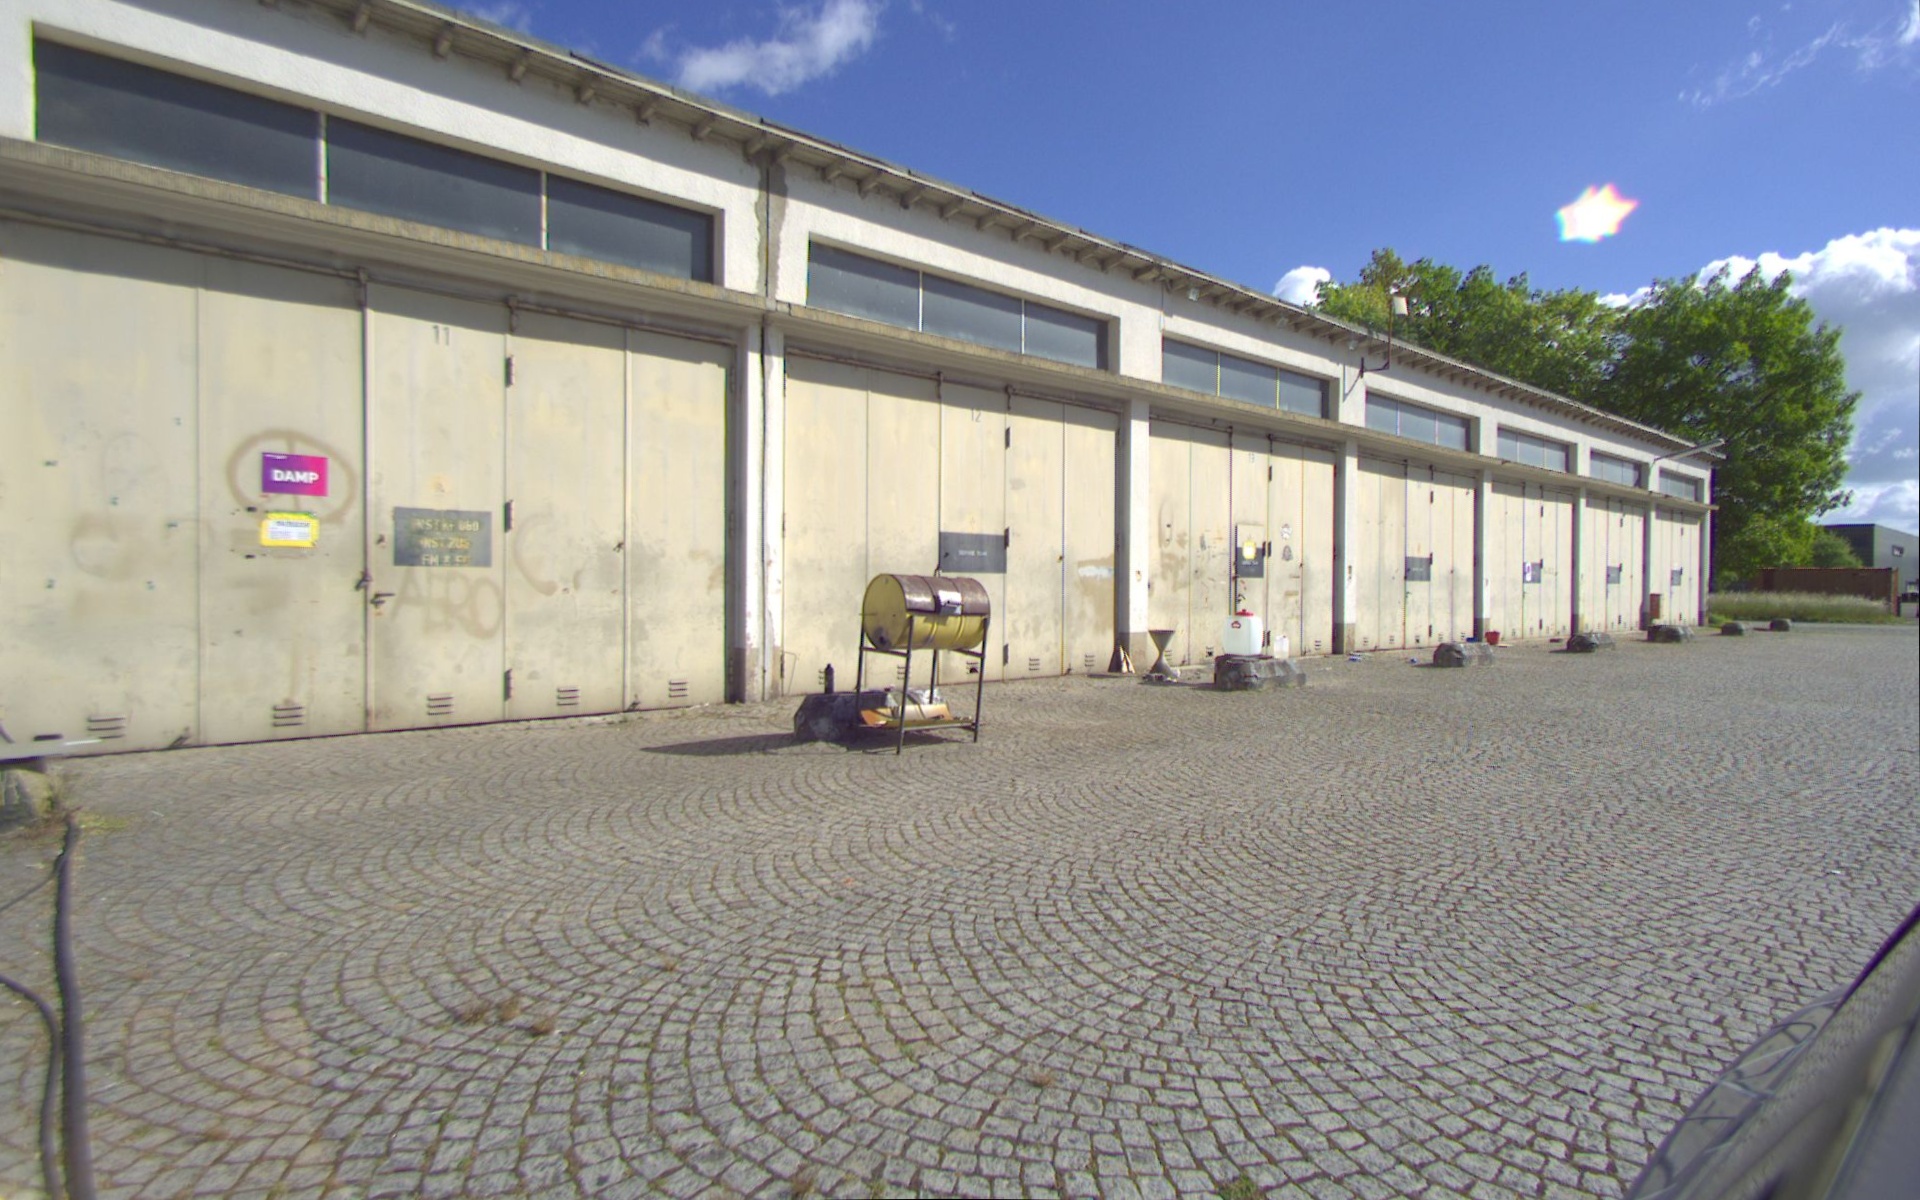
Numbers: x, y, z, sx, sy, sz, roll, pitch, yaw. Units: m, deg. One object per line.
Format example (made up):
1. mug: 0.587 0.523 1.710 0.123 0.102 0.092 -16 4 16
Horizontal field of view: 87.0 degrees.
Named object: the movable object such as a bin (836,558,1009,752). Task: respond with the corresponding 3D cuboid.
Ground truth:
1. movable object such as a bin: -0.298 0.388 8.091 1.082 1.419 0.876 -1 1 -41
